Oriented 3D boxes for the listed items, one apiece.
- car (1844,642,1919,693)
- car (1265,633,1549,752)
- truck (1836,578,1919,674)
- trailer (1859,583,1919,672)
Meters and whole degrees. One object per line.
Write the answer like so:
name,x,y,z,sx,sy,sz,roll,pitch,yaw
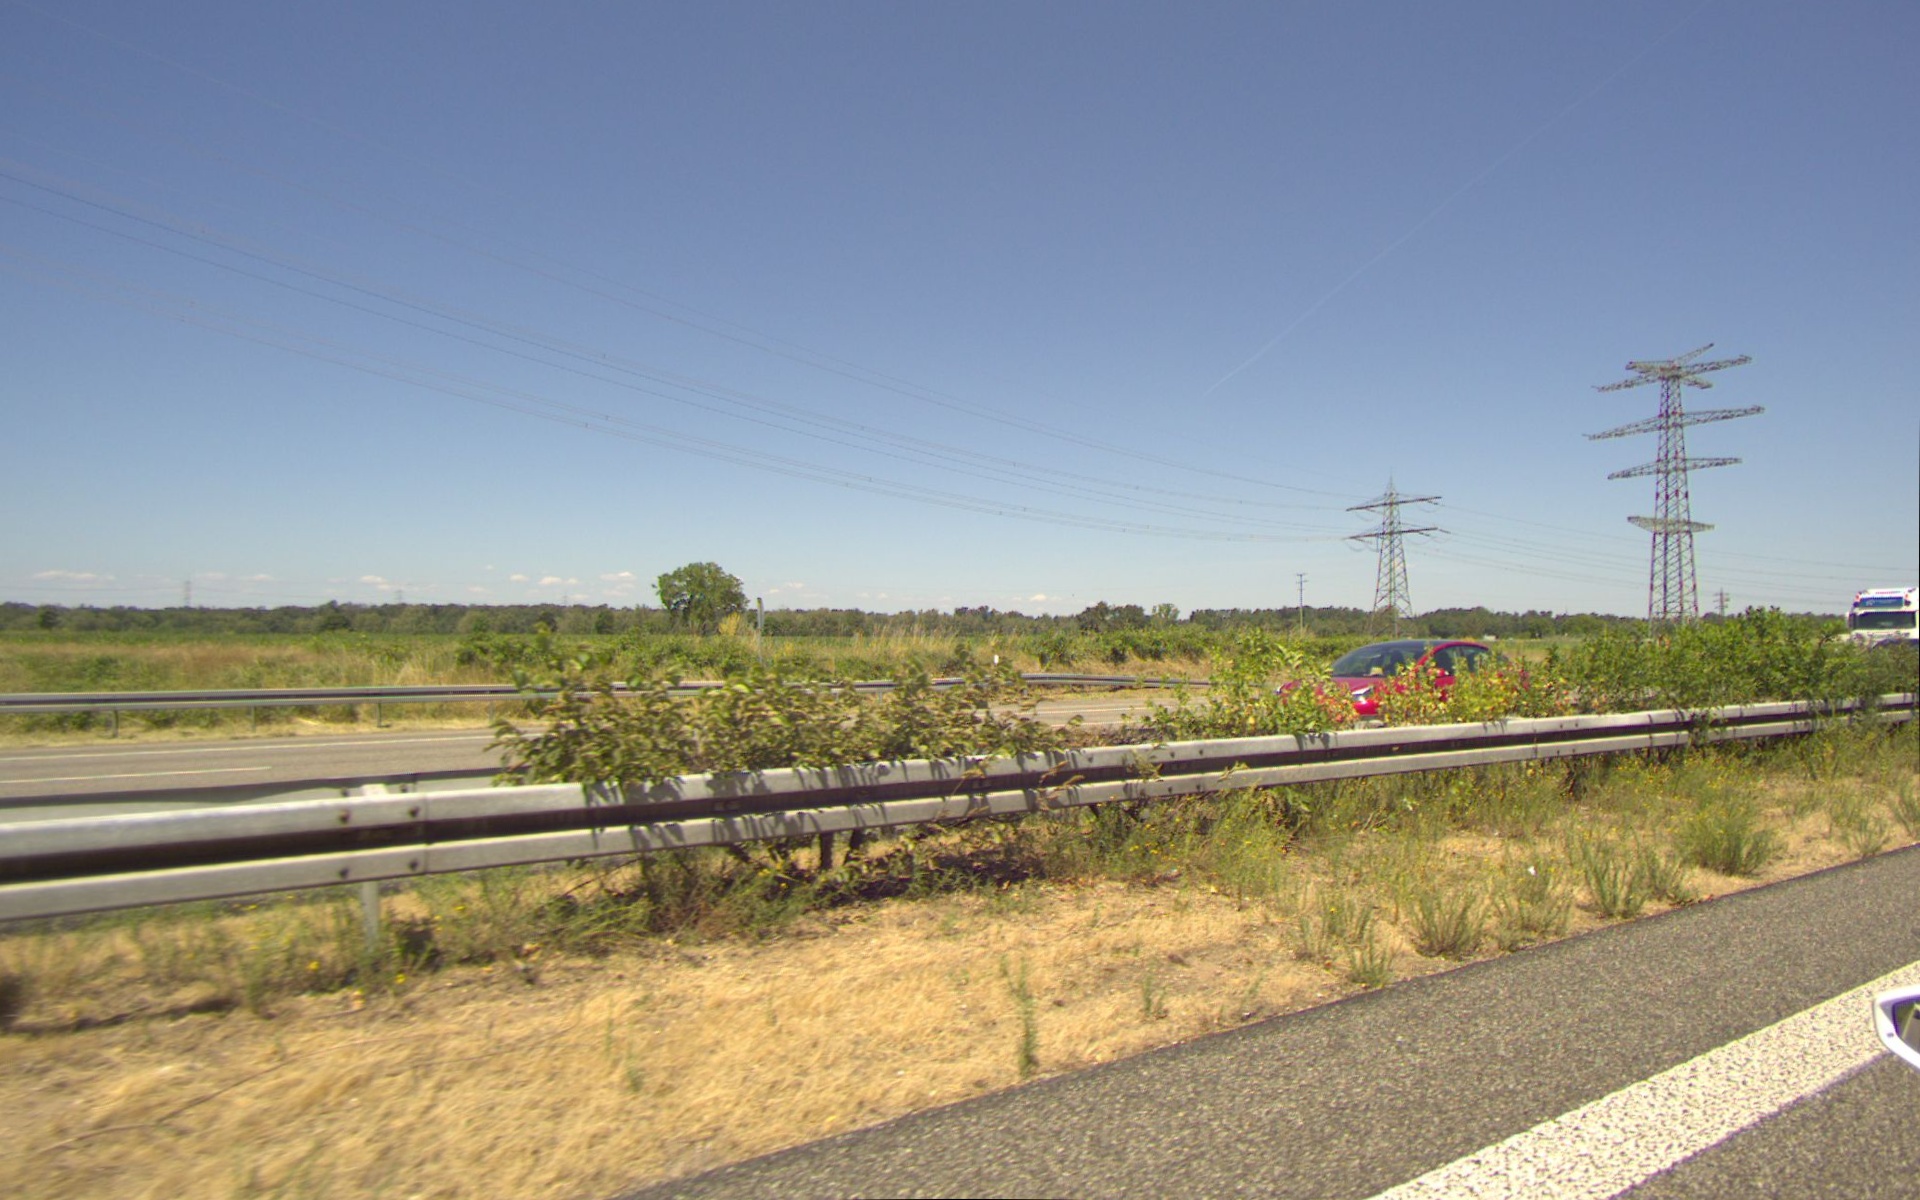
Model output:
car,32.752,2.293,34.866,4.554,1.654,1.745,1,-2,-30
car,6.515,1.235,14.541,4.155,1.505,1.743,1,-2,-32
truck,42.729,1.206,45.676,5.734,4.122,2.683,1,-2,-31
trailer,48.460,1.395,49.105,13.747,3.989,2.680,1,-2,-31
